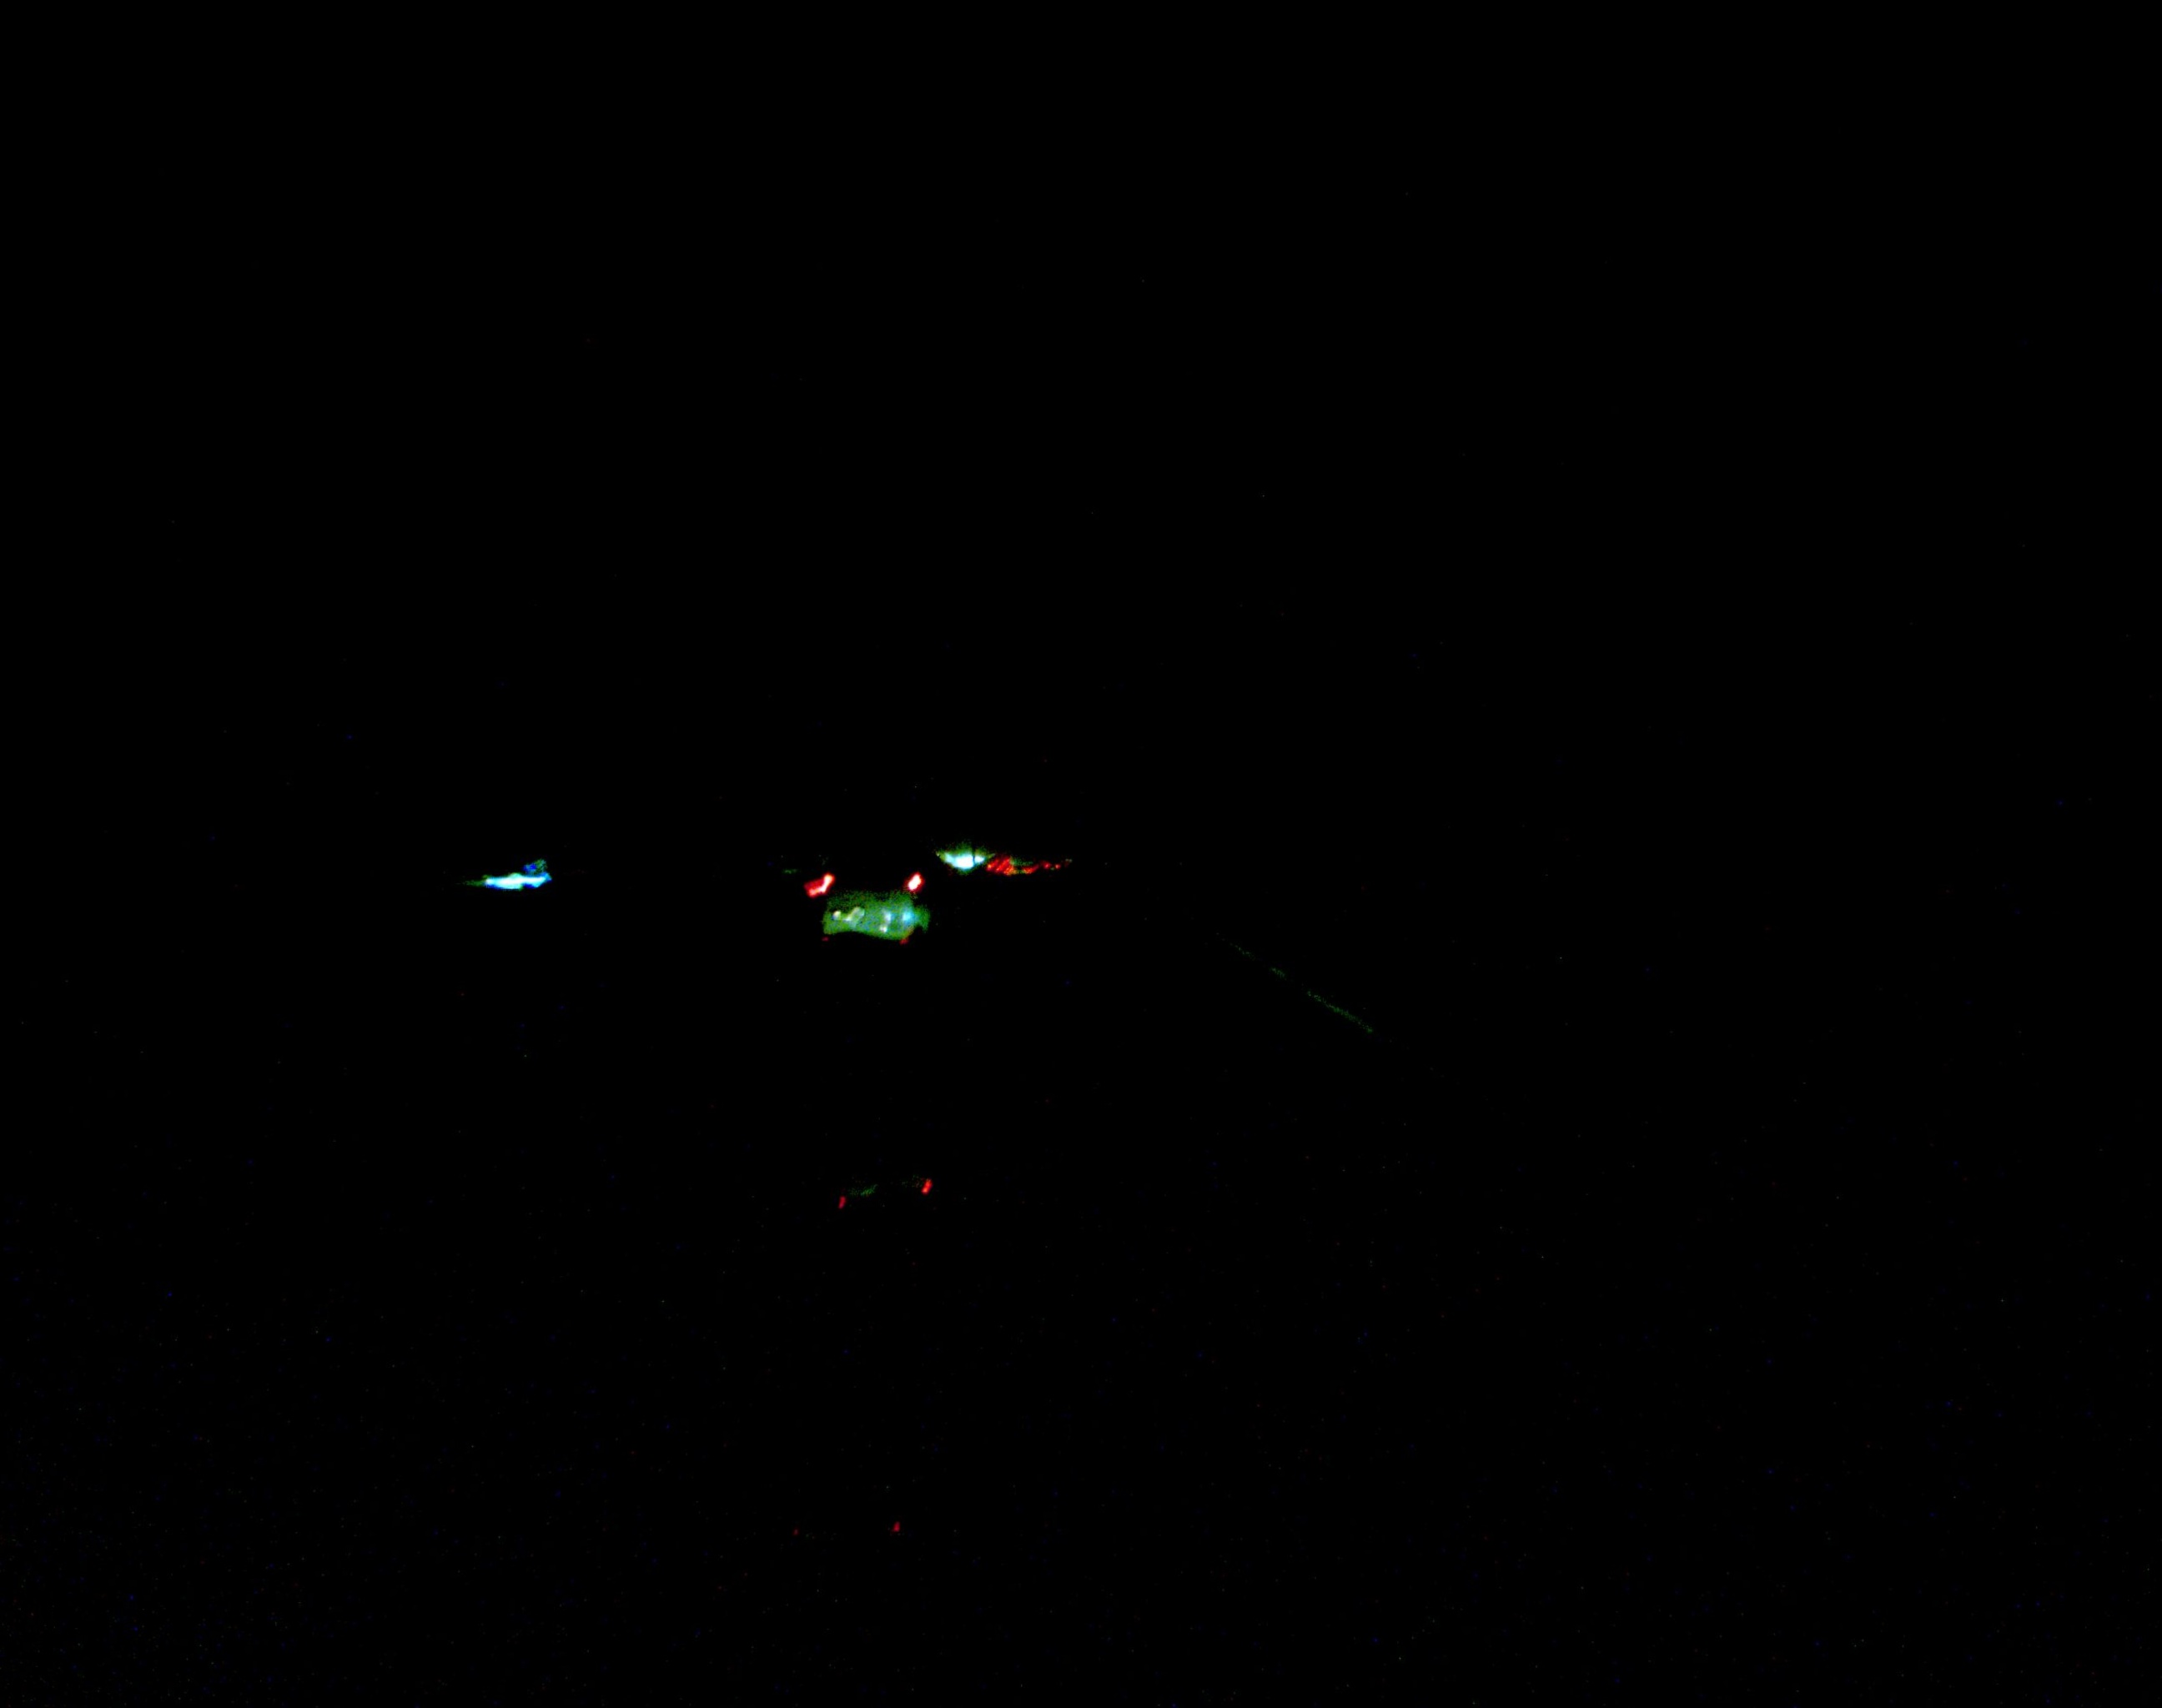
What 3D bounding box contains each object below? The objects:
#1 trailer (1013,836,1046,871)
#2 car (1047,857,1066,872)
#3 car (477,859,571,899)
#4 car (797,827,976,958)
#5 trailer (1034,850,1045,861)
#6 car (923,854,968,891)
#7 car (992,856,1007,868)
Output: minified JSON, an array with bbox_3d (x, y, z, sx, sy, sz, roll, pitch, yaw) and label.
[{"bbox_3d":[-5.962,0.001,95.973,2.582,3.725,13.653,2,-1,1],"label":"trailer"},{"bbox_3d":[-3.066,1.385,103.651,1.985,1.818,4.004,2,-1,4],"label":"car"},{"bbox_3d":[-30.701,1.334,45.053,1.986,2.014,4.406,2,-1,1],"label":"car"},{"bbox_3d":[-3.352,0.625,15.157,1.986,2.014,5.018,-1,-1,1],"label":"car"},{"bbox_3d":[-10.957,0.351,217.505,2.680,2.700,12.846,2,-1,-2],"label":"trailer"},{"bbox_3d":[-7.859,1.056,47.691,1.989,2.014,4.563,2,-1,-3],"label":"car"},{"bbox_3d":[-11.987,1.164,119.693,1.989,1.618,3.996,2,0,-3],"label":"car"}]
